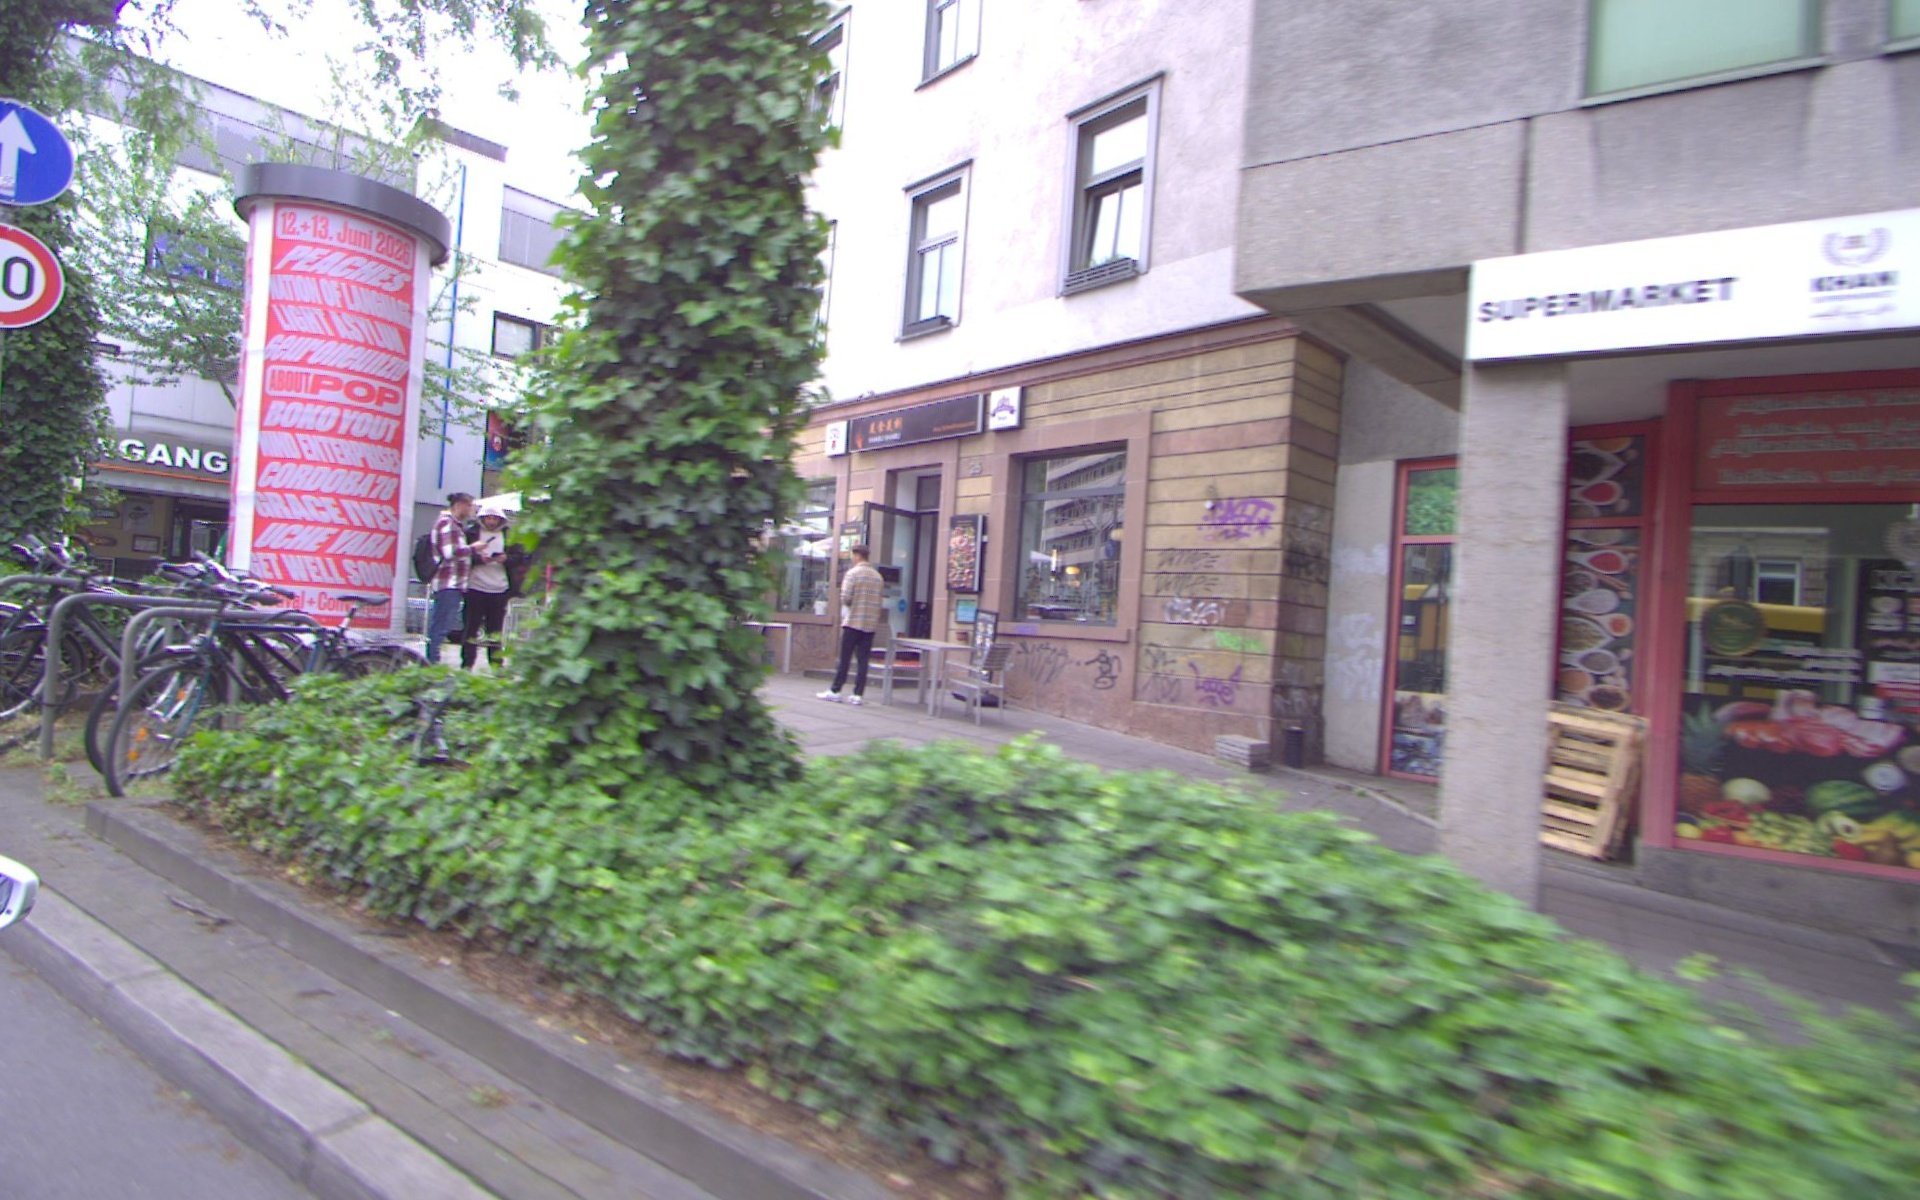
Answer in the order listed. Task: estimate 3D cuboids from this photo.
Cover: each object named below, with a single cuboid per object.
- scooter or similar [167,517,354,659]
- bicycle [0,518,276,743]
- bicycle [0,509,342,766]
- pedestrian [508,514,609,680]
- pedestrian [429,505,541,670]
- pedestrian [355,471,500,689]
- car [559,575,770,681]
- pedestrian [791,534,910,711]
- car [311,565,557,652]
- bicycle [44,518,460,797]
[{"bbox_3d":[-7.030,-0.104,10.182,1.372,1.270,0.628,5,0,-24],"label":"scooter or similar"},{"bbox_3d":[-5.219,0.182,6.276,0.532,1.237,1.423,7,1,27],"label":"bicycle"},{"bbox_3d":[-4.527,0.203,5.597,0.532,1.237,1.744,7,0,27],"label":"bicycle"},{"bbox_3d":[-4.344,-0.024,10.885,0.654,1.700,0.623,7,1,37],"label":"pedestrian"},{"bbox_3d":[-4.753,-0.117,10.077,0.654,1.541,0.623,7,-1,37],"label":"pedestrian"},{"bbox_3d":[-5.004,-0.187,9.451,0.867,1.912,0.705,7,-1,37],"label":"pedestrian"},{"bbox_3d":[-6.732,0.774,23.669,1.963,1.928,5.159,7,-3,19],"label":"car"},{"bbox_3d":[-1.244,0.255,11.380,0.894,1.855,0.730,8,0,-31],"label":"pedestrian"},{"bbox_3d":[-11.829,0.223,22.855,4.567,1.372,1.741,10,-4,-43],"label":"car"},{"bbox_3d":[-3.687,0.311,5.425,0.532,1.236,1.691,7,0,27],"label":"bicycle"}]
